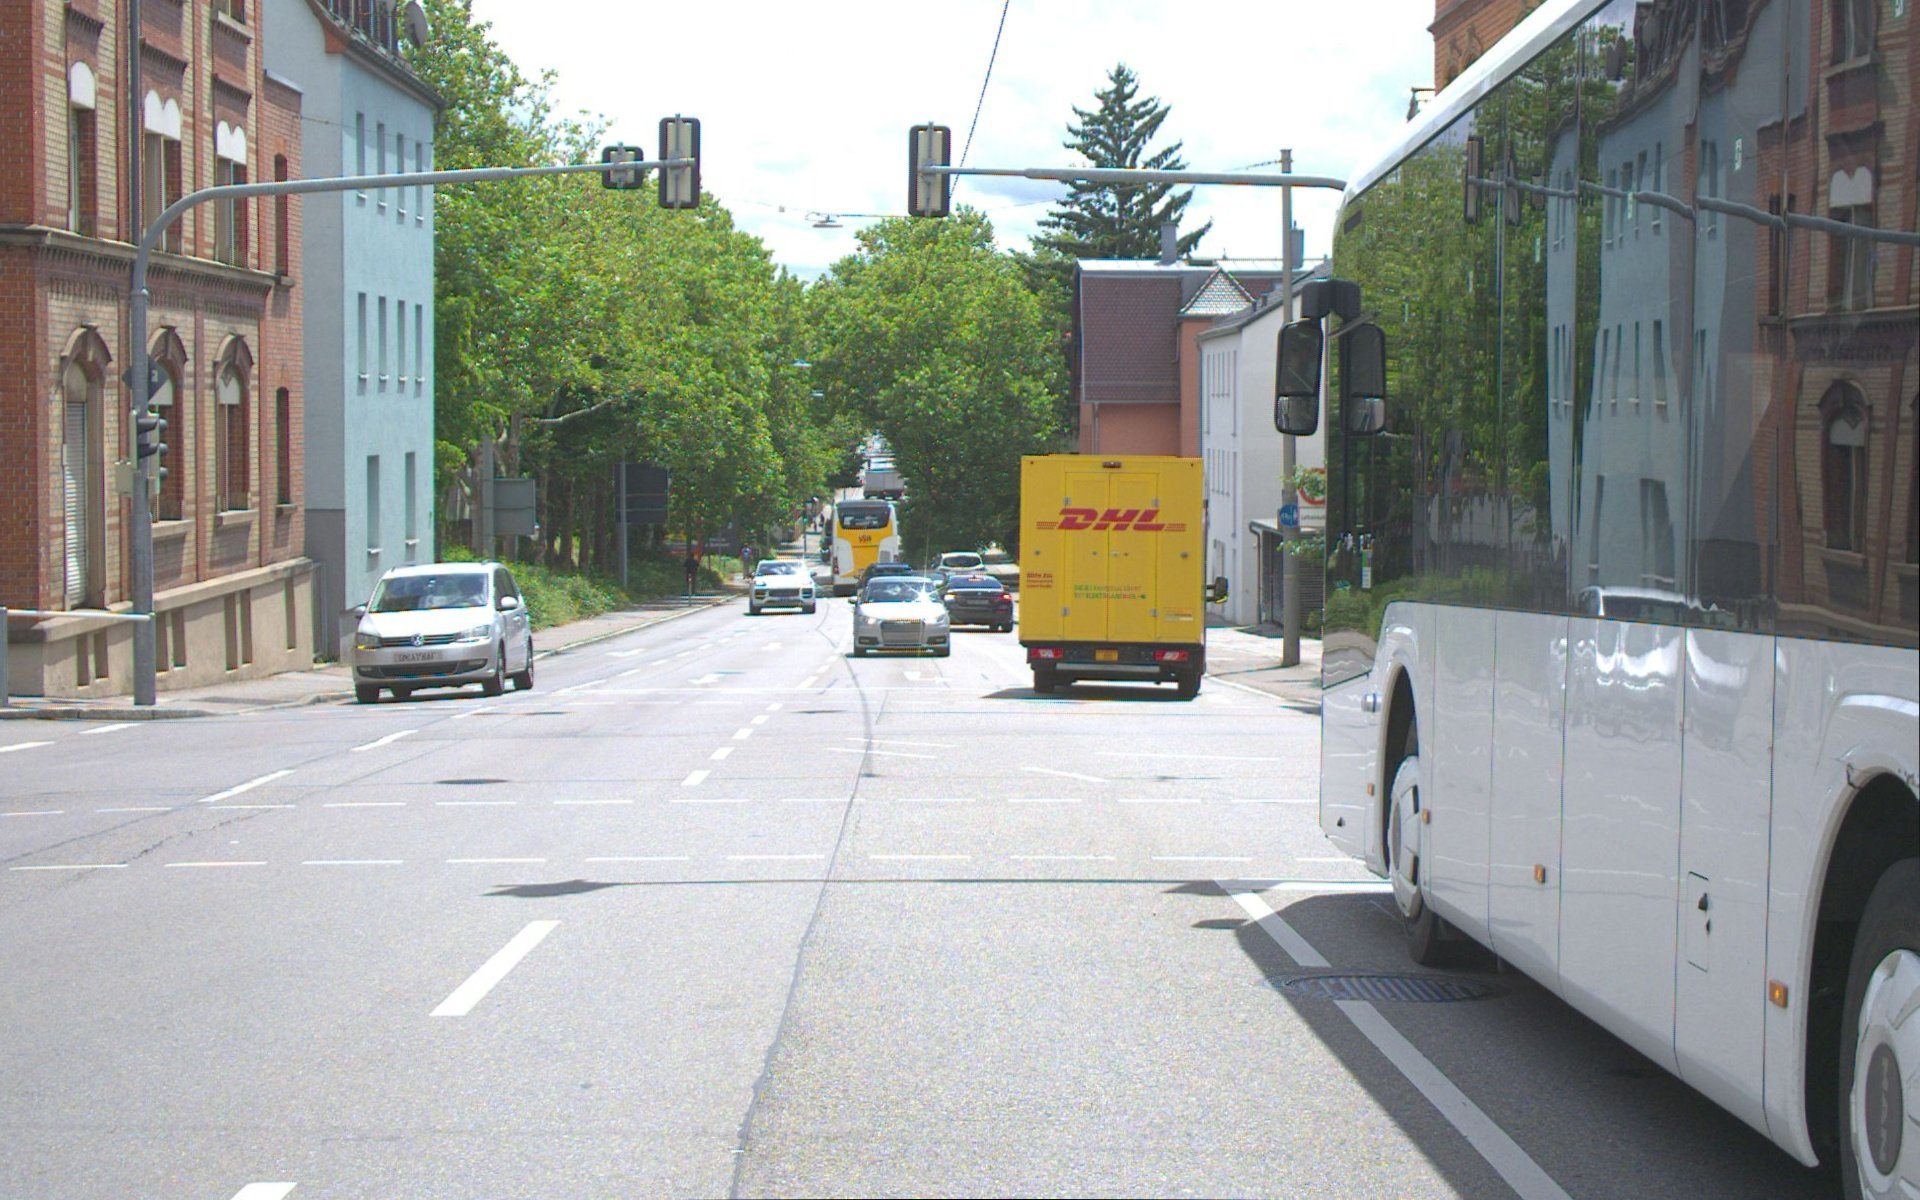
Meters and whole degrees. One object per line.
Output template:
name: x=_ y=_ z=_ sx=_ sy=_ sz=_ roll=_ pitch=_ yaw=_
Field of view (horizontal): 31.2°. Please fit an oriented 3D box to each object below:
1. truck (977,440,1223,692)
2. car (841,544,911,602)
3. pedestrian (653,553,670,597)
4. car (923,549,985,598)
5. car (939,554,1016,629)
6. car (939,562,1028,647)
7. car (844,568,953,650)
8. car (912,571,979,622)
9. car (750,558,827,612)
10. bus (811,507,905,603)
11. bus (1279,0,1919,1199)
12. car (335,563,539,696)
truck: x=1.879 y=-0.429 z=43.361 sx=2.542 sy=2.903 sz=6.570 roll=1 pitch=1 yaw=7
car: x=-2.749 y=-0.885 z=111.464 sx=2.091 sy=1.824 sz=4.143 roll=0 pitch=1 yaw=-4
pedestrian: x=-11.853 y=-1.003 z=136.542 sx=0.606 sy=1.752 sz=0.654 roll=-1 pitch=1 yaw=-2
car: x=-0.252 y=-1.013 z=129.628 sx=2.091 sy=1.824 sz=4.143 roll=0 pitch=1 yaw=-4
car: x=0.419 y=-0.235 z=84.849 sx=1.819 sy=1.778 sz=4.000 roll=-1 pitch=1 yaw=-1
car: x=0.548 y=0.084 z=84.965 sx=1.993 sy=2.007 sz=4.001 roll=-1 pitch=1 yaw=-2
car: x=-1.080 y=0.133 z=61.602 sx=1.865 sy=1.363 sz=4.547 roll=-1 pitch=1 yaw=-1
car: x=-0.427 y=-0.123 z=98.028 sx=1.865 sy=1.363 sz=4.547 roll=-1 pitch=1 yaw=-1
car: x=-5.293 y=-0.472 z=106.745 sx=2.207 sy=1.607 sz=4.547 roll=-1 pitch=1 yaw=-1
bus: x=-4.128 y=-1.791 z=136.335 sx=3.300 sy=3.618 sz=11.246 roll=-1 pitch=1 yaw=-4
bus: x=2.989 y=-0.402 z=9.274 sx=2.904 sy=3.498 sz=12.488 roll=1 pitch=1 yaw=-1
car: x=-6.529 y=0.331 z=43.333 sx=1.935 sy=1.558 sz=4.389 roll=-1 pitch=1 yaw=-1
